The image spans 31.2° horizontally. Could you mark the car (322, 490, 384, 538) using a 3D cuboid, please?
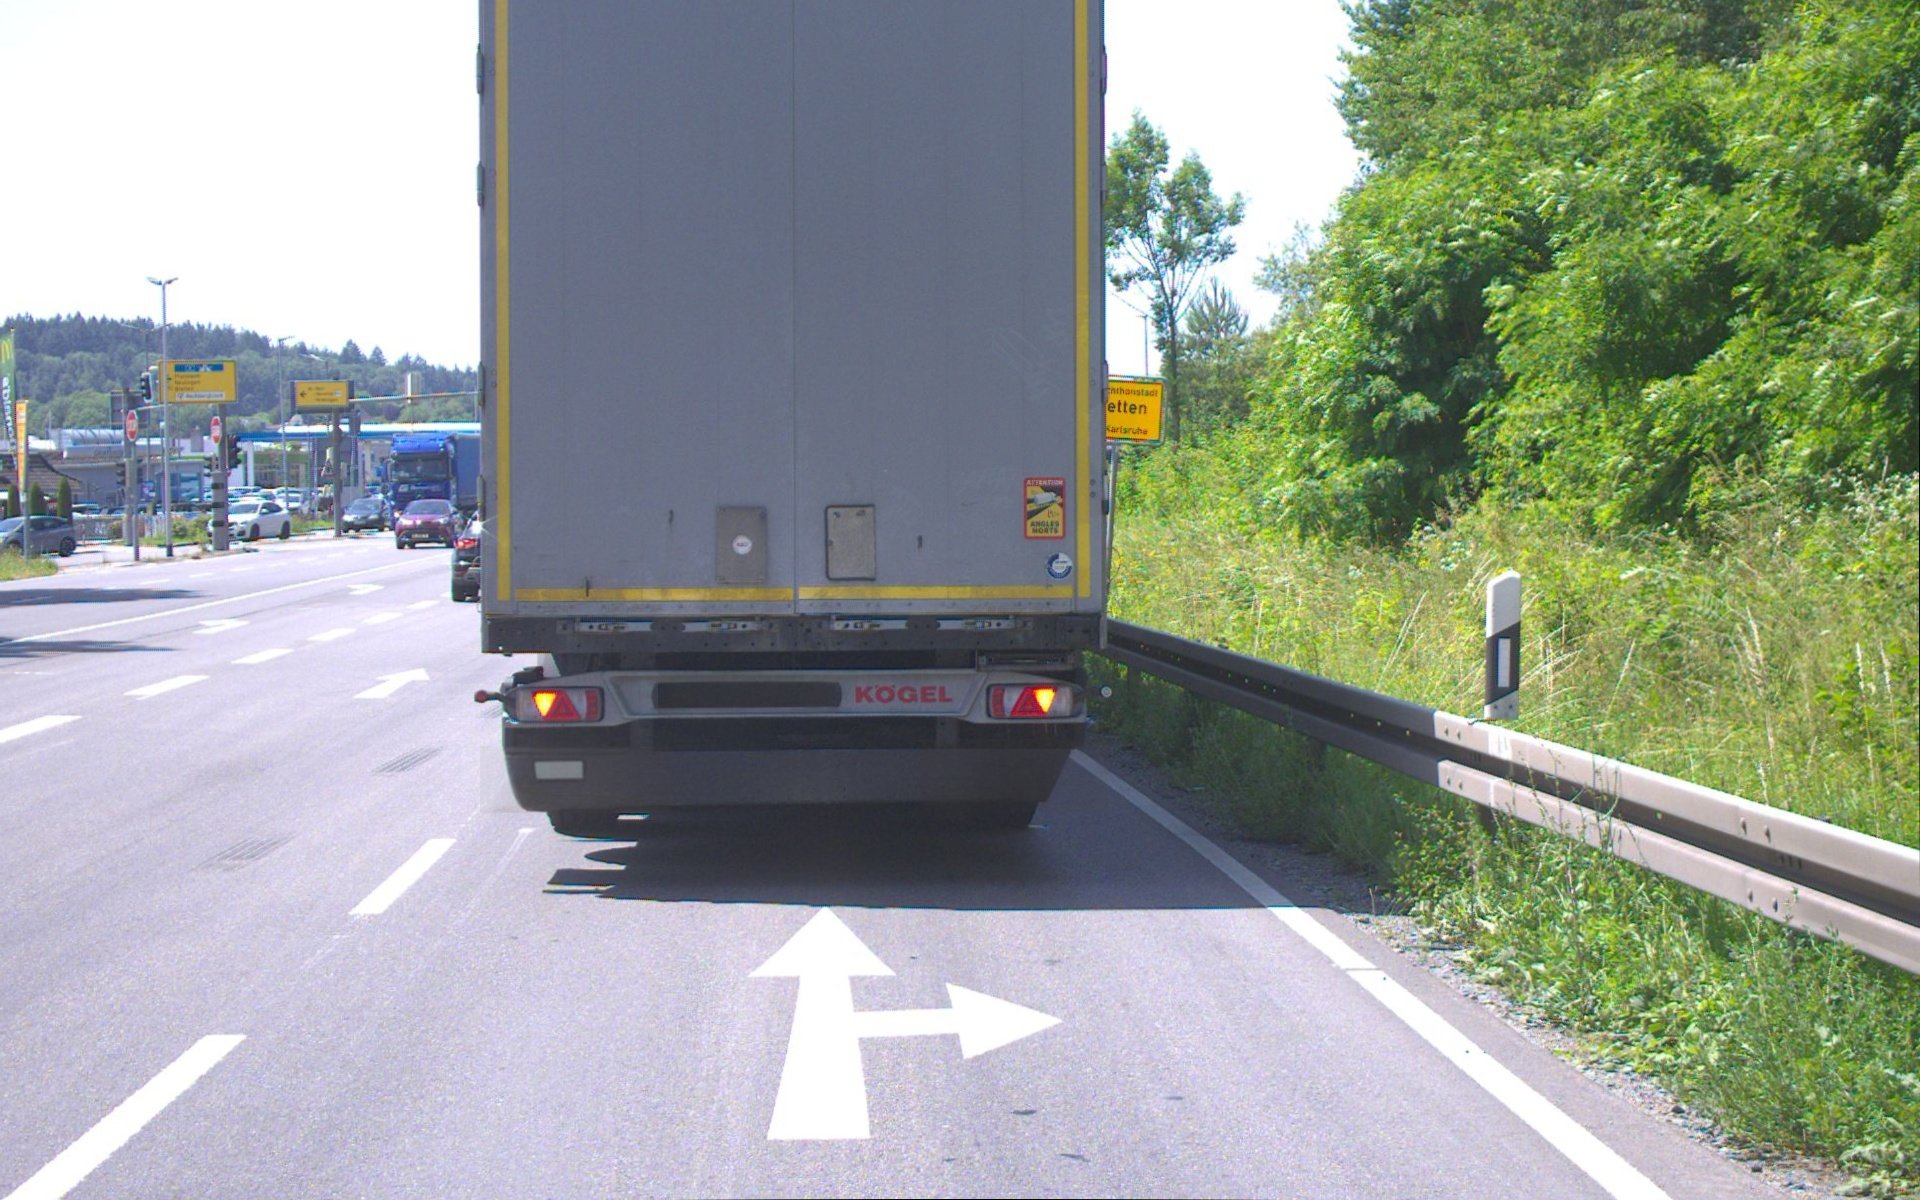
[{"bbox_3d":[-26.281,-3.712,148.924,1.993,2.007,4.000,1,1,-1],"label":"car"}]

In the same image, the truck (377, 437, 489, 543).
[{"bbox_3d":[-21.981,-4.575,144.245,2.968,4.162,16.577,-1,2,-3],"label":"truck"}]

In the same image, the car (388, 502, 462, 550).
[{"bbox_3d":[-17.149,-2.387,110.390,1.903,1.503,3.765,0,1,-2],"label":"car"}]

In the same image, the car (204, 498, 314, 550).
[{"bbox_3d":[-27.361,-2.975,134.302,1.997,2.006,3.993,1,2,33],"label":"car"}]

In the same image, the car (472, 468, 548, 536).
[{"bbox_3d":[-13.811,-3.003,105.724,1.993,2.007,4.001,1,1,-3],"label":"car"}]

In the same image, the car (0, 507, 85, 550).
[{"bbox_3d":[-35.779,-2.751,132.691,1.890,1.584,4.132,1,1,20],"label":"car"}]

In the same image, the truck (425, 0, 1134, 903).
[{"bbox_3d":[-0.999,-1.237,21.945,2.755,4.623,16.657,1,1,-2],"label":"truck"}]

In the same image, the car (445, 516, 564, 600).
[{"bbox_3d":[-7.517,-0.696,56.962,1.528,1.336,3.330,1,1,0],"label":"car"}]
